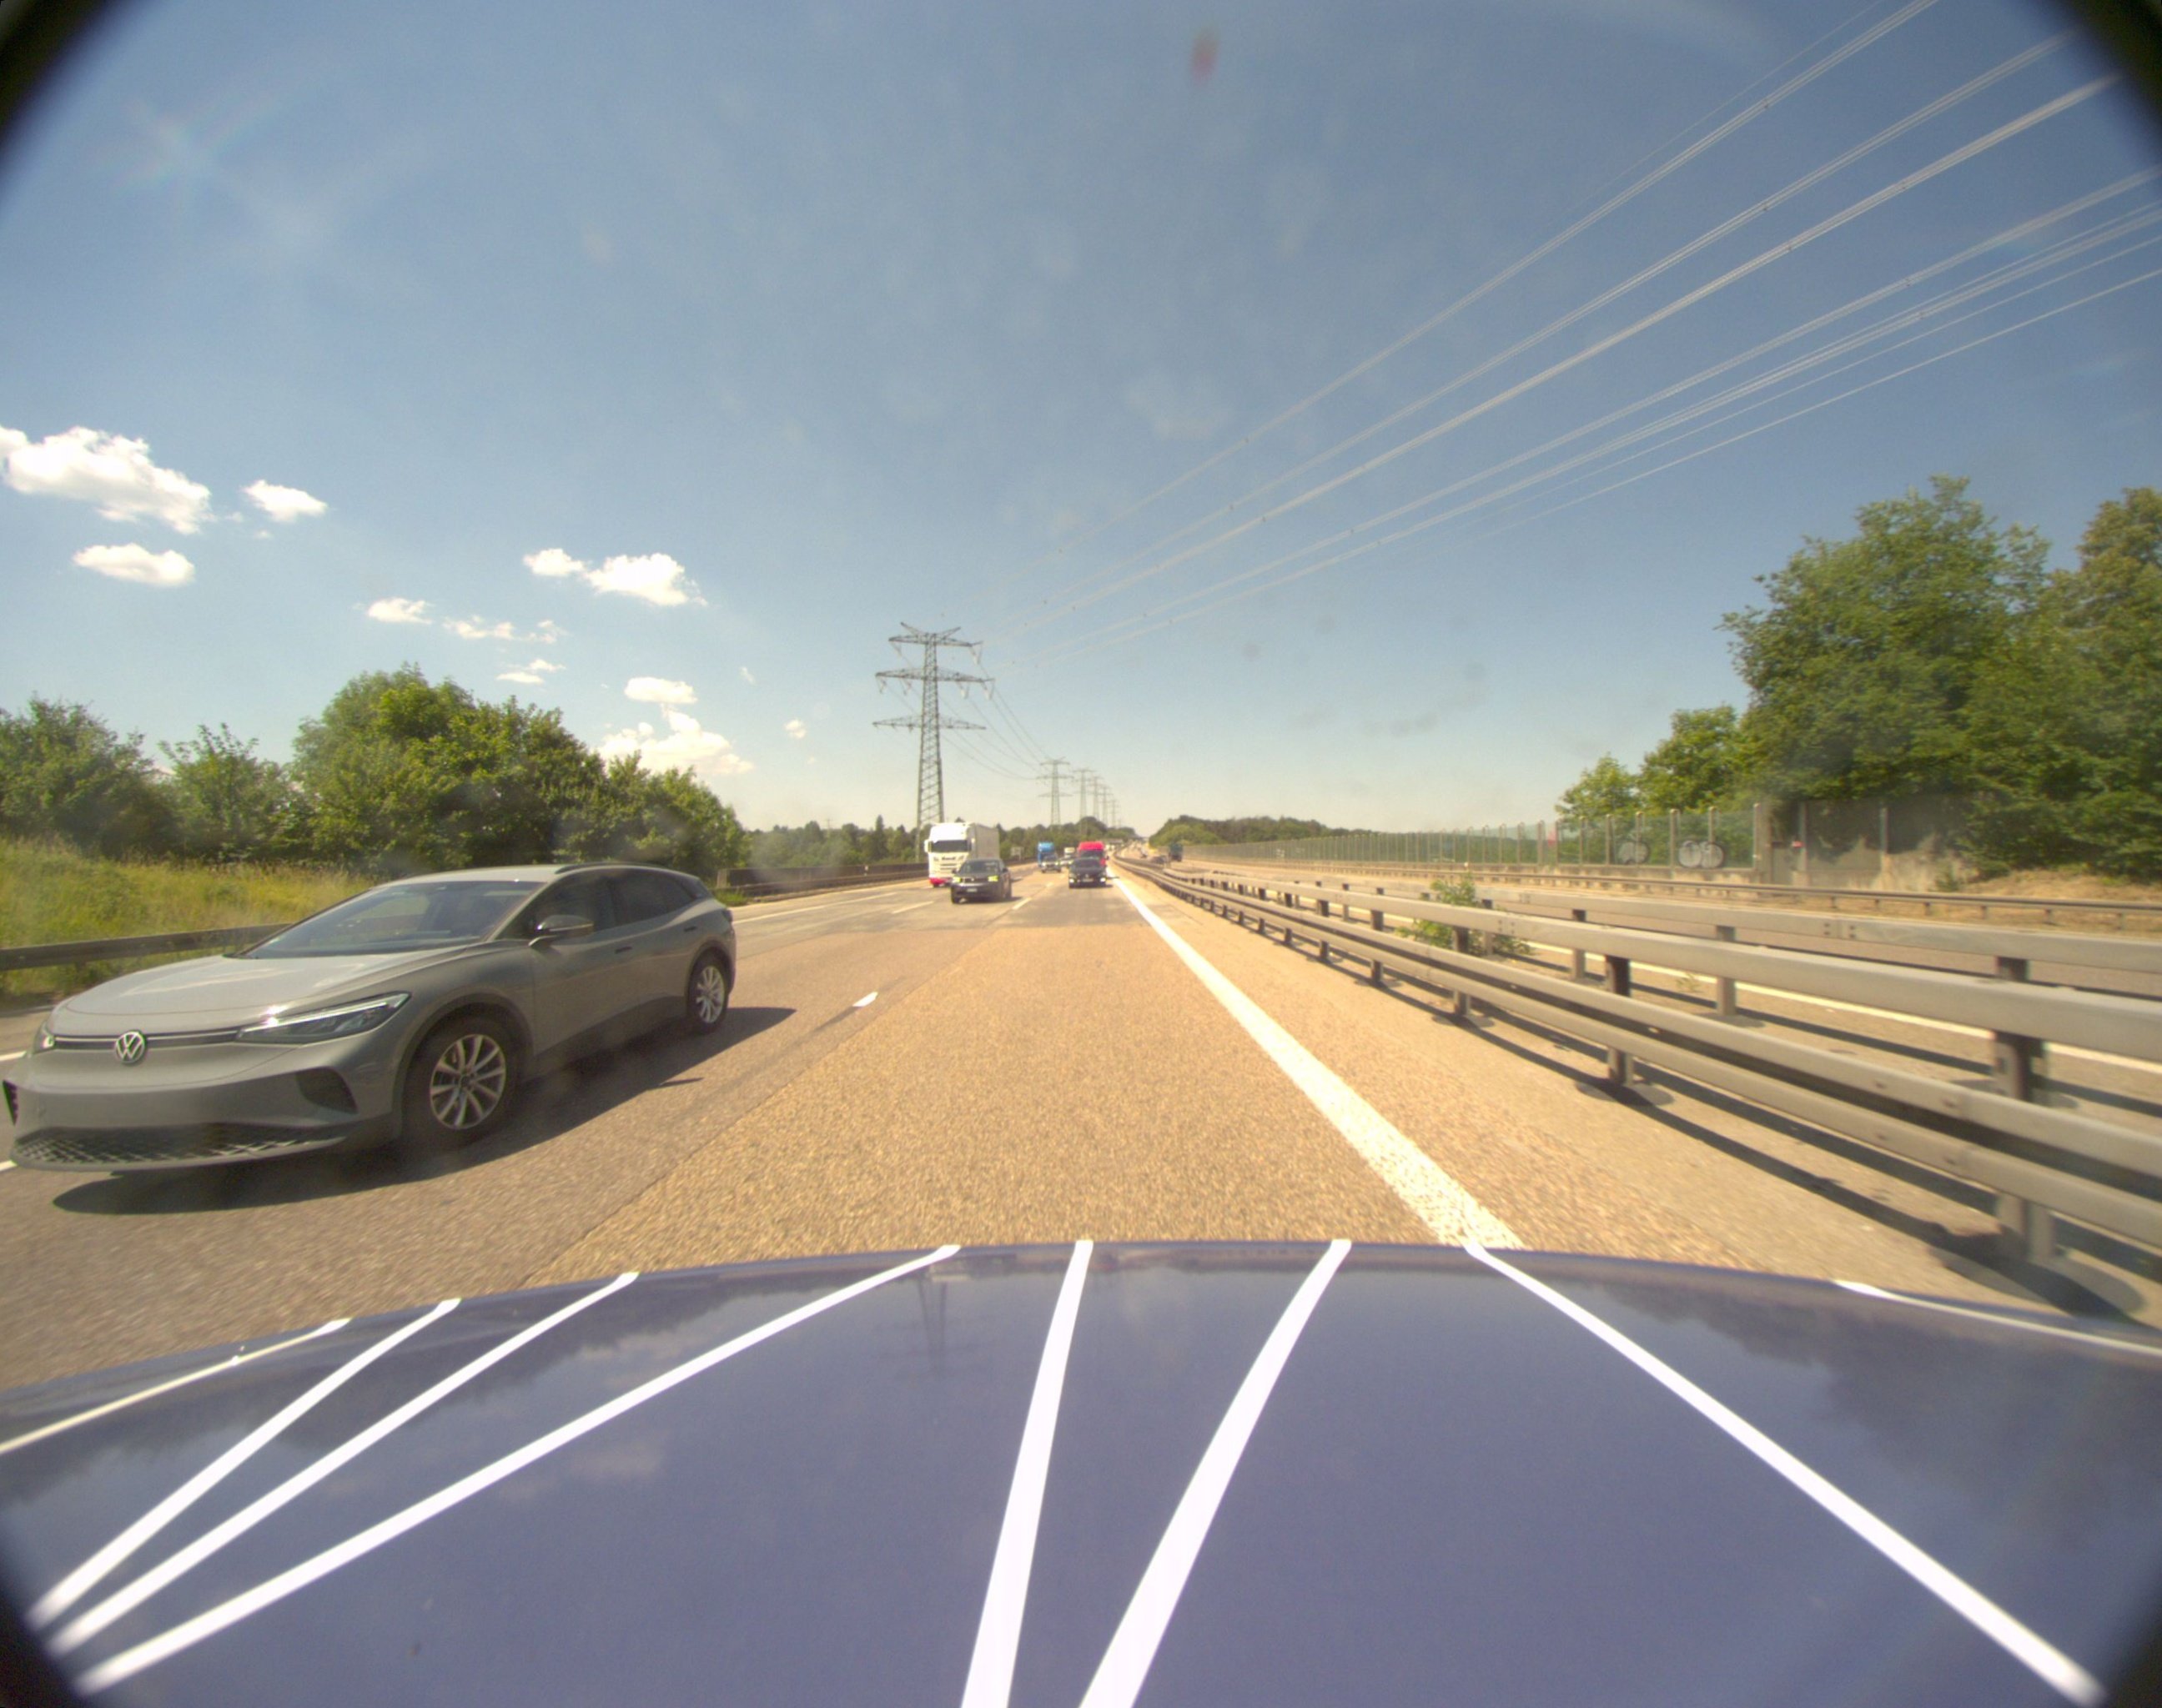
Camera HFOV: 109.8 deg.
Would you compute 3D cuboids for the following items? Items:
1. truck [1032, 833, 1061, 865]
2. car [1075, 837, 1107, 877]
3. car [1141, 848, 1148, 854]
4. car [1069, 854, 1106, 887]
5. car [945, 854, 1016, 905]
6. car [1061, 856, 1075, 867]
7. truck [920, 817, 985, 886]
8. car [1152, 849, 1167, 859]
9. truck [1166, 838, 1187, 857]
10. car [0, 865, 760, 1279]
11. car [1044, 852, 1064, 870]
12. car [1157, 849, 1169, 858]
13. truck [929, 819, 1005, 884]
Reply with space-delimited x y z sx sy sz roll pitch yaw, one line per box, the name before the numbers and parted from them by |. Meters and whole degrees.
truck | -5.760 -0.897 131.250 3.797 4.971 14.923 -3 1 1
car | 0.711 0.195 51.609 2.100 2.598 4.496 -1 1 1
car | 19.171 -0.954 229.973 1.955 1.557 4.047 -1 1 1
car | 0.337 0.784 37.966 1.735 1.535 3.750 0 1 1
car | -3.644 0.896 28.348 1.955 1.636 4.047 -3 0 1
car | -1.918 1.080 113.833 1.879 1.591 3.688 -1 1 1
truck | -7.744 -0.167 46.151 3.076 3.885 3.847 -3 1 1
car | 11.642 0.029 113.216 1.786 1.465 4.488 -1 0 0
truck | 21.256 -1.474 169.091 3.315 4.114 11.090 1 0 1
car | -4.327 0.983 5.543 1.873 1.627 4.585 -3 0 1
car | -2.733 0.664 77.112 1.749 1.691 4.088 -1 1 1
car | 16.605 -0.097 153.705 1.786 1.596 4.047 -1 0 -1
truck | -7.636 -0.203 53.142 3.076 3.885 12.503 -3 0 1
